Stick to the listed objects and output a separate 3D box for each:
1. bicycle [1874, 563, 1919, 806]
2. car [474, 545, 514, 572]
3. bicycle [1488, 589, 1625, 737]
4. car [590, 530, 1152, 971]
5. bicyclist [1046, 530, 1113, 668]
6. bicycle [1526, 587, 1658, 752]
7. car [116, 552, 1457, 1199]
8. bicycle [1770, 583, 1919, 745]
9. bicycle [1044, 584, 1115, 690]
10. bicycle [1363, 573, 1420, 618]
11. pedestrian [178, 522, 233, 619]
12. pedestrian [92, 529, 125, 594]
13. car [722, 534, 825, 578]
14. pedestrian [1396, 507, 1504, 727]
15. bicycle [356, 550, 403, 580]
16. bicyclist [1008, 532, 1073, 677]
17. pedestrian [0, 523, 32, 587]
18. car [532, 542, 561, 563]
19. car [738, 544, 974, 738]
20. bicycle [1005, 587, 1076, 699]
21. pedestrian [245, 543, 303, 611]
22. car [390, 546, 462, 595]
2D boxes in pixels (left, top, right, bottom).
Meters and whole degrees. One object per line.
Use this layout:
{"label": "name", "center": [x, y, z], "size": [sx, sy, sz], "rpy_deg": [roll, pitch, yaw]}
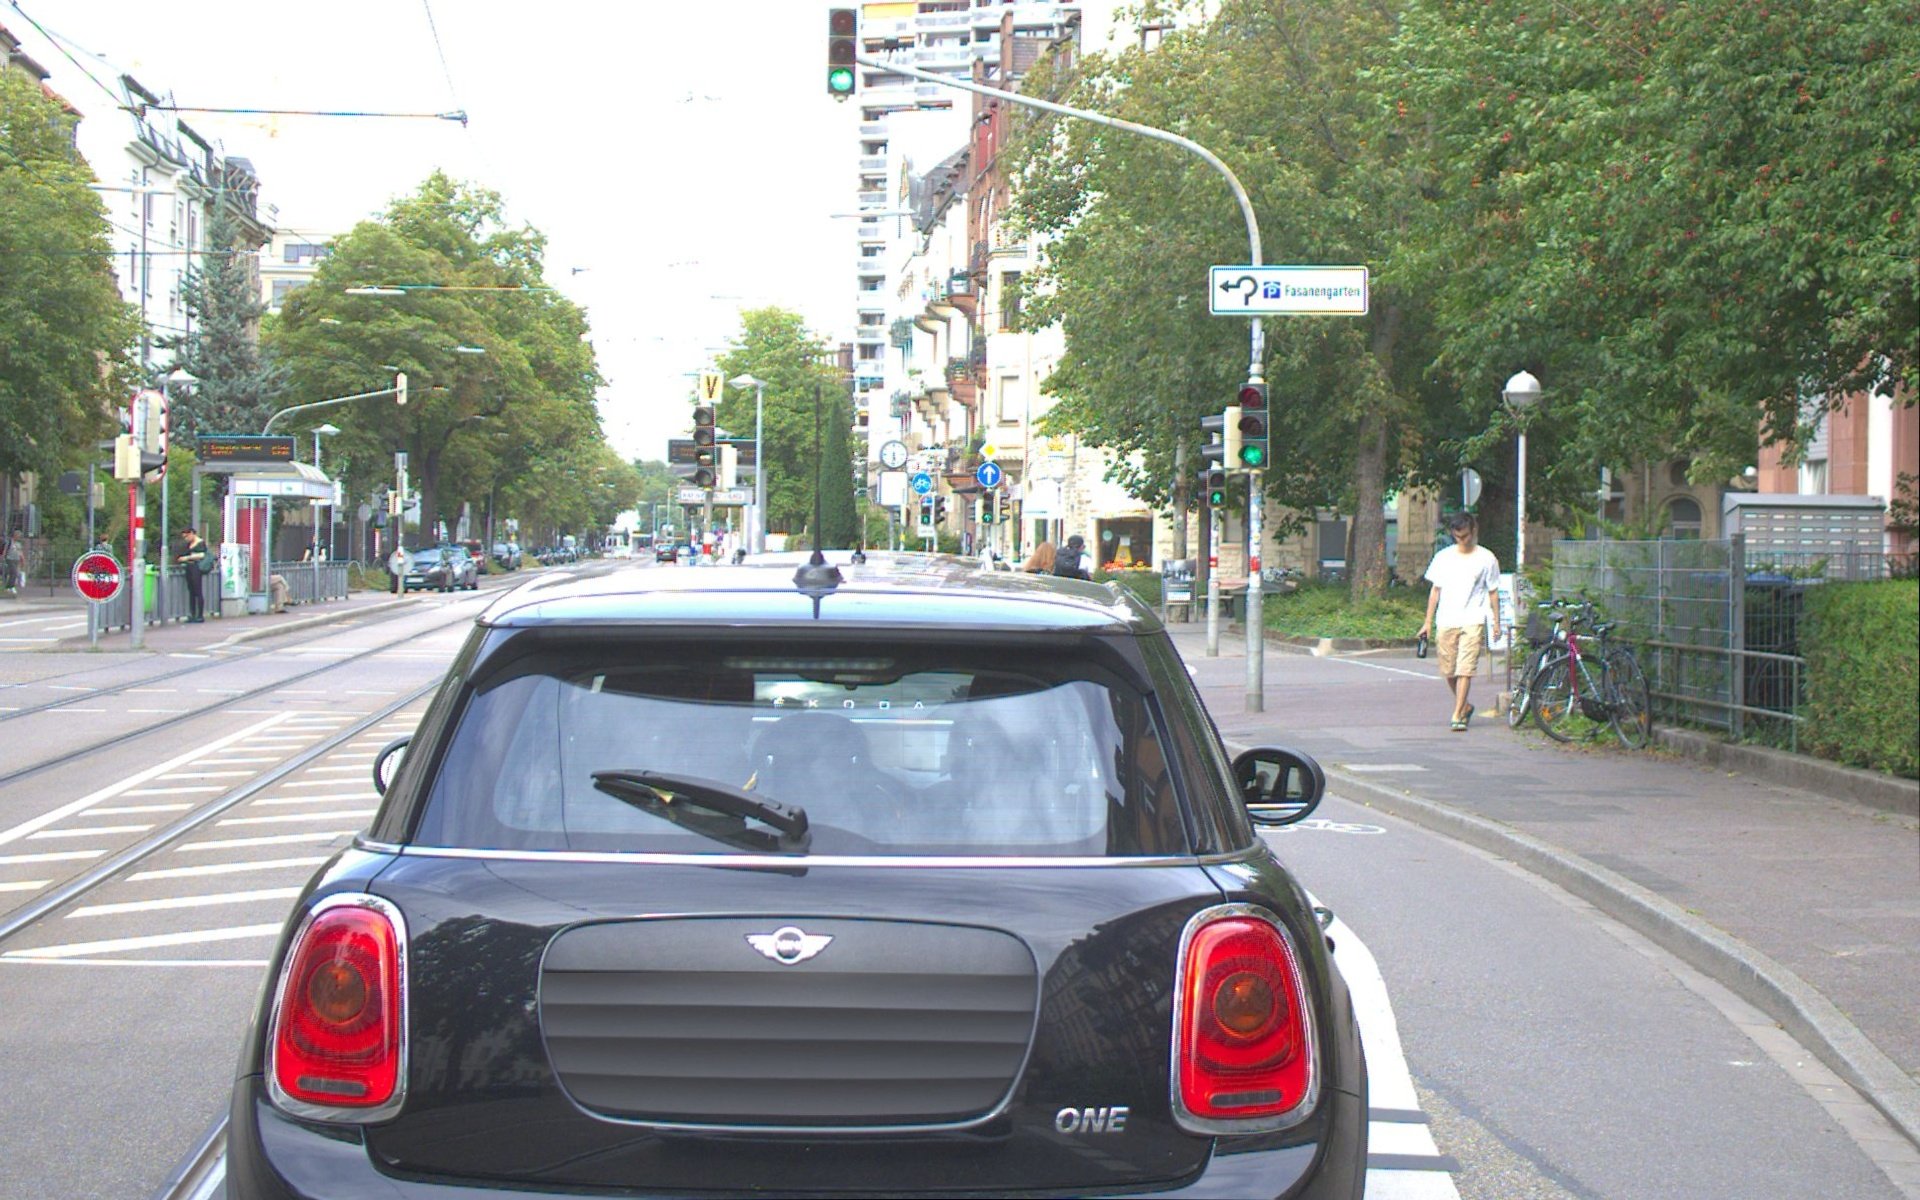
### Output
{"label": "bicycle", "center": [5.333, 0.454, 18.182], "size": [0.516, 1.277, 1.550], "rpy_deg": [0, 1, -2]}
{"label": "car", "center": [-26.775, -2.391, 197.533], "size": [1.993, 1.546, 4.001], "rpy_deg": [1, 1, -4]}
{"label": "bicycle", "center": [4.705, 0.482, 27.213], "size": [0.671, 1.102, 1.672], "rpy_deg": [0, 1, -4]}
{"label": "car", "center": [-0.316, 0.495, 13.898], "size": [1.927, 1.504, 4.000], "rpy_deg": [1, 1, 0]}
{"label": "bicyclist", "center": [1.379, -0.020, 39.724], "size": [0.684, 1.558, 0.998], "rpy_deg": [0, 1, -2]}
{"label": "bicycle", "center": [4.483, 0.476, 24.469], "size": [0.508, 1.085, 1.550], "rpy_deg": [-3, 1, -4]}
{"label": "car", "center": [-0.257, 0.640, 6.519], "size": [1.751, 1.436, 4.000], "rpy_deg": [1, 1, -1]}
{"label": "bicycle", "center": [5.996, 0.405, 21.882], "size": [1.544, 1.005, 0.510], "rpy_deg": [0, 1, -6]}
{"label": "bicycle", "center": [1.375, 0.418, 39.664], "size": [0.684, 1.166, 1.697], "rpy_deg": [0, 1, -2]}
{"label": "bicycle", "center": [11.126, -0.116, 88.607], "size": [0.532, 1.124, 1.889], "rpy_deg": [1, 1, 38]}
{"label": "pedestrian", "center": [-12.726, -0.495, 58.019], "size": [0.851, 1.615, 0.843], "rpy_deg": [1, 1, -9]}
{"label": "pedestrian", "center": [-22.673, -1.018, 91.520], "size": [0.694, 1.713, 0.758], "rpy_deg": [1, 1, -2]}
{"label": "car", "center": [-9.818, -2.329, 181.218], "size": [5.026, 2.265, 2.395], "rpy_deg": [0, 1, -44]}
{"label": "pedestrian", "center": [3.974, 0.125, 27.943], "size": [0.730, 1.748, 0.950], "rpy_deg": [1, 1, 0]}
{"label": "bicycle", "center": [-21.701, -1.298, 128.550], "size": [1.667, 1.115, 0.572], "rpy_deg": [0, 1, -43]}
{"label": "bicyclist", "center": [0.872, 0.040, 37.335], "size": [0.594, 1.545, 1.014], "rpy_deg": [0, 1, -4]}
{"label": "pedestrian", "center": [-25.668, -1.223, 93.338], "size": [0.832, 1.697, 0.733], "rpy_deg": [1, 1, -9]}
{"label": "car", "center": [-31.290, -3.592, 260.301], "size": [1.993, 1.546, 4.001], "rpy_deg": [1, 1, -4]}
{"label": "car", "center": [-0.856, 0.273, 28.074], "size": [1.751, 1.436, 4.480], "rpy_deg": [1, 1, -2]}
{"label": "bicycle", "center": [0.869, 0.454, 37.344], "size": [0.598, 1.166, 1.697], "rpy_deg": [0, 1, -4]}
{"label": "pedestrian", "center": [-13.159, -0.450, 65.986], "size": [1.058, 1.289, 0.986], "rpy_deg": [1, 1, -9]}
{"label": "car", "center": [-16.769, -0.925, 108.015], "size": [1.751, 1.436, 4.001], "rpy_deg": [2, 1, -3]}
